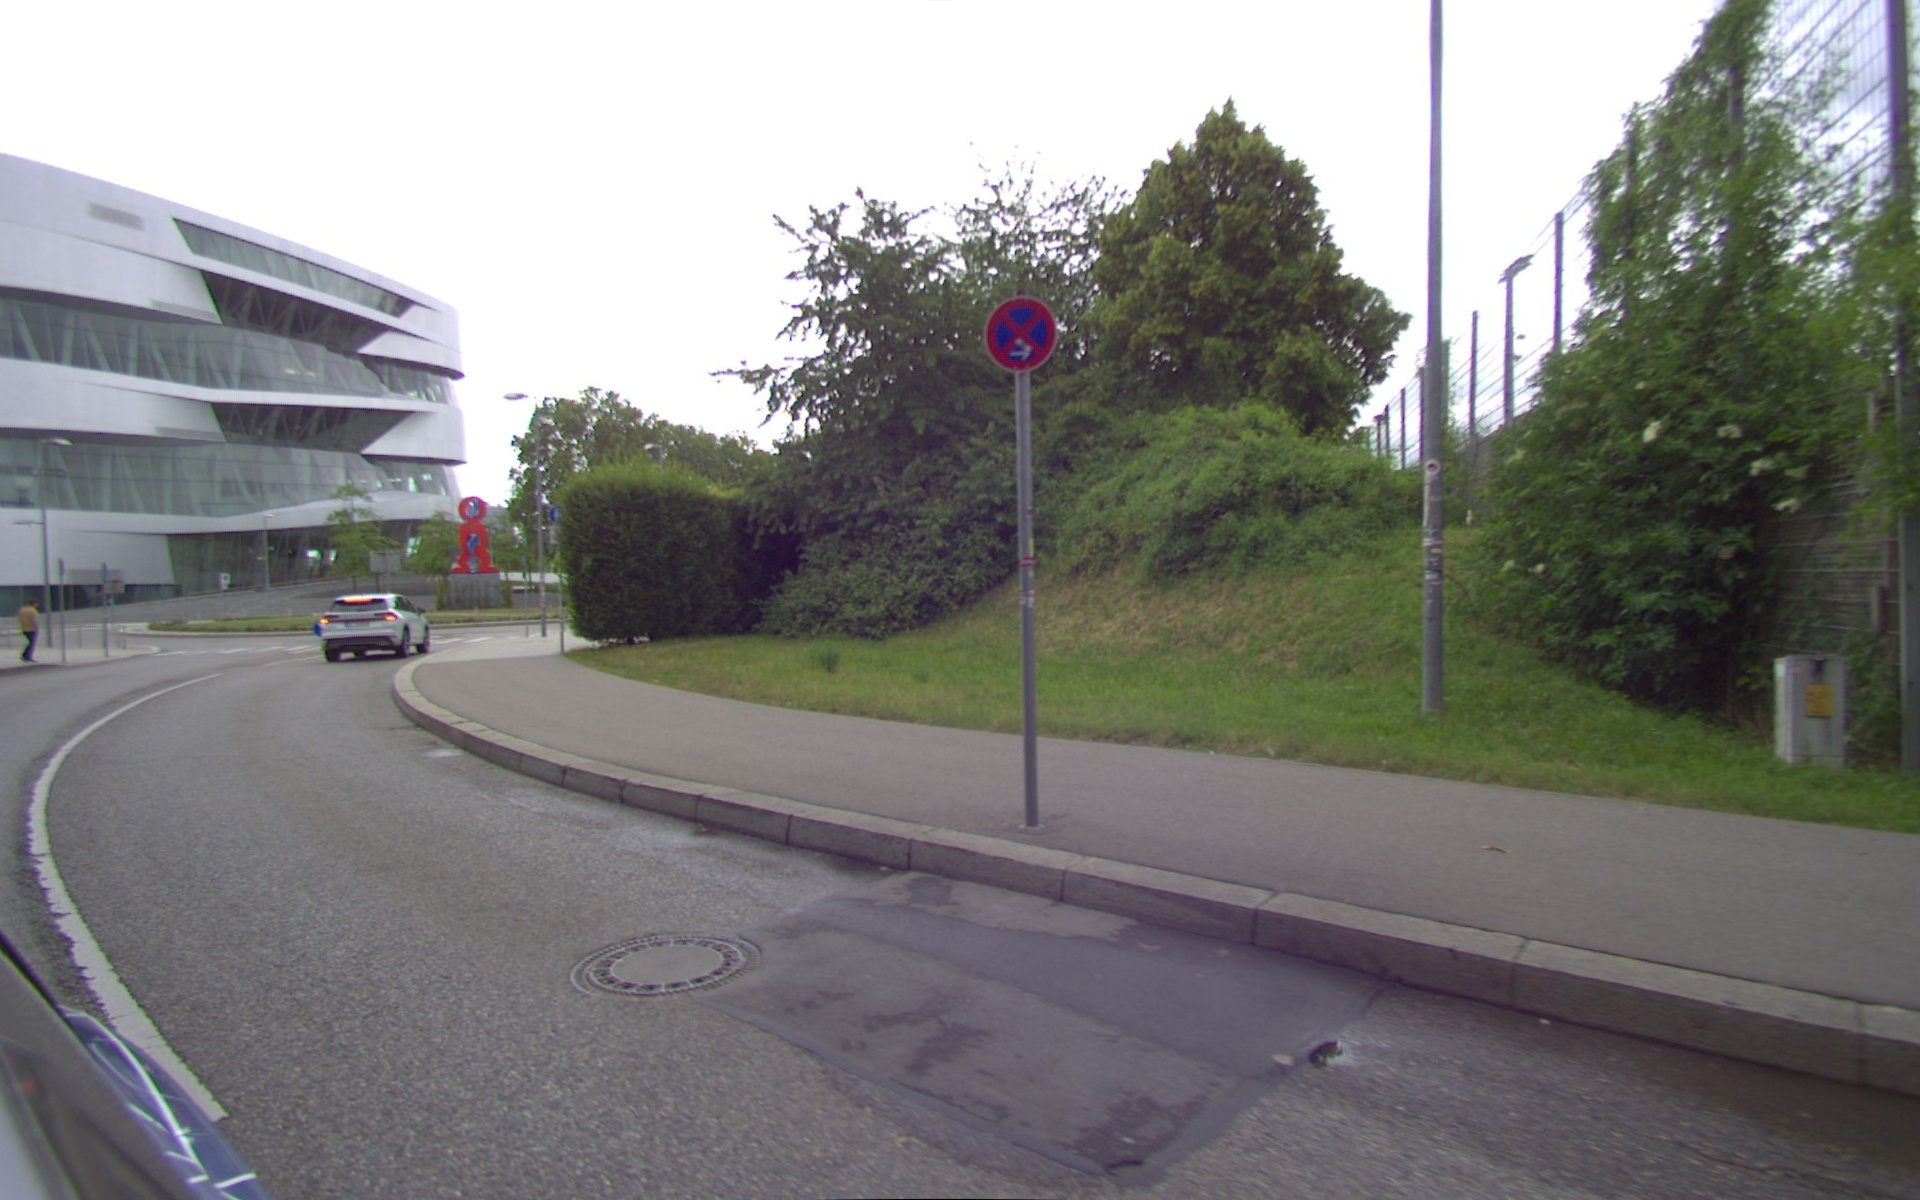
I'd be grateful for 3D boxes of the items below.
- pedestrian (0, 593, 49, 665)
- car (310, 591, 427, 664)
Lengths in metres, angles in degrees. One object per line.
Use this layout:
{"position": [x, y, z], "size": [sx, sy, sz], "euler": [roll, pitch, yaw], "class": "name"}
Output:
{"position": [-27.166, 0.836, 29.358], "size": [0.785, 2.029, 1.025], "euler": [-3, -1, 44], "class": "pedestrian"}
{"position": [-15.411, 0.701, 26.595], "size": [1.838, 1.696, 4.419], "euler": [-2, -1, -20], "class": "car"}
